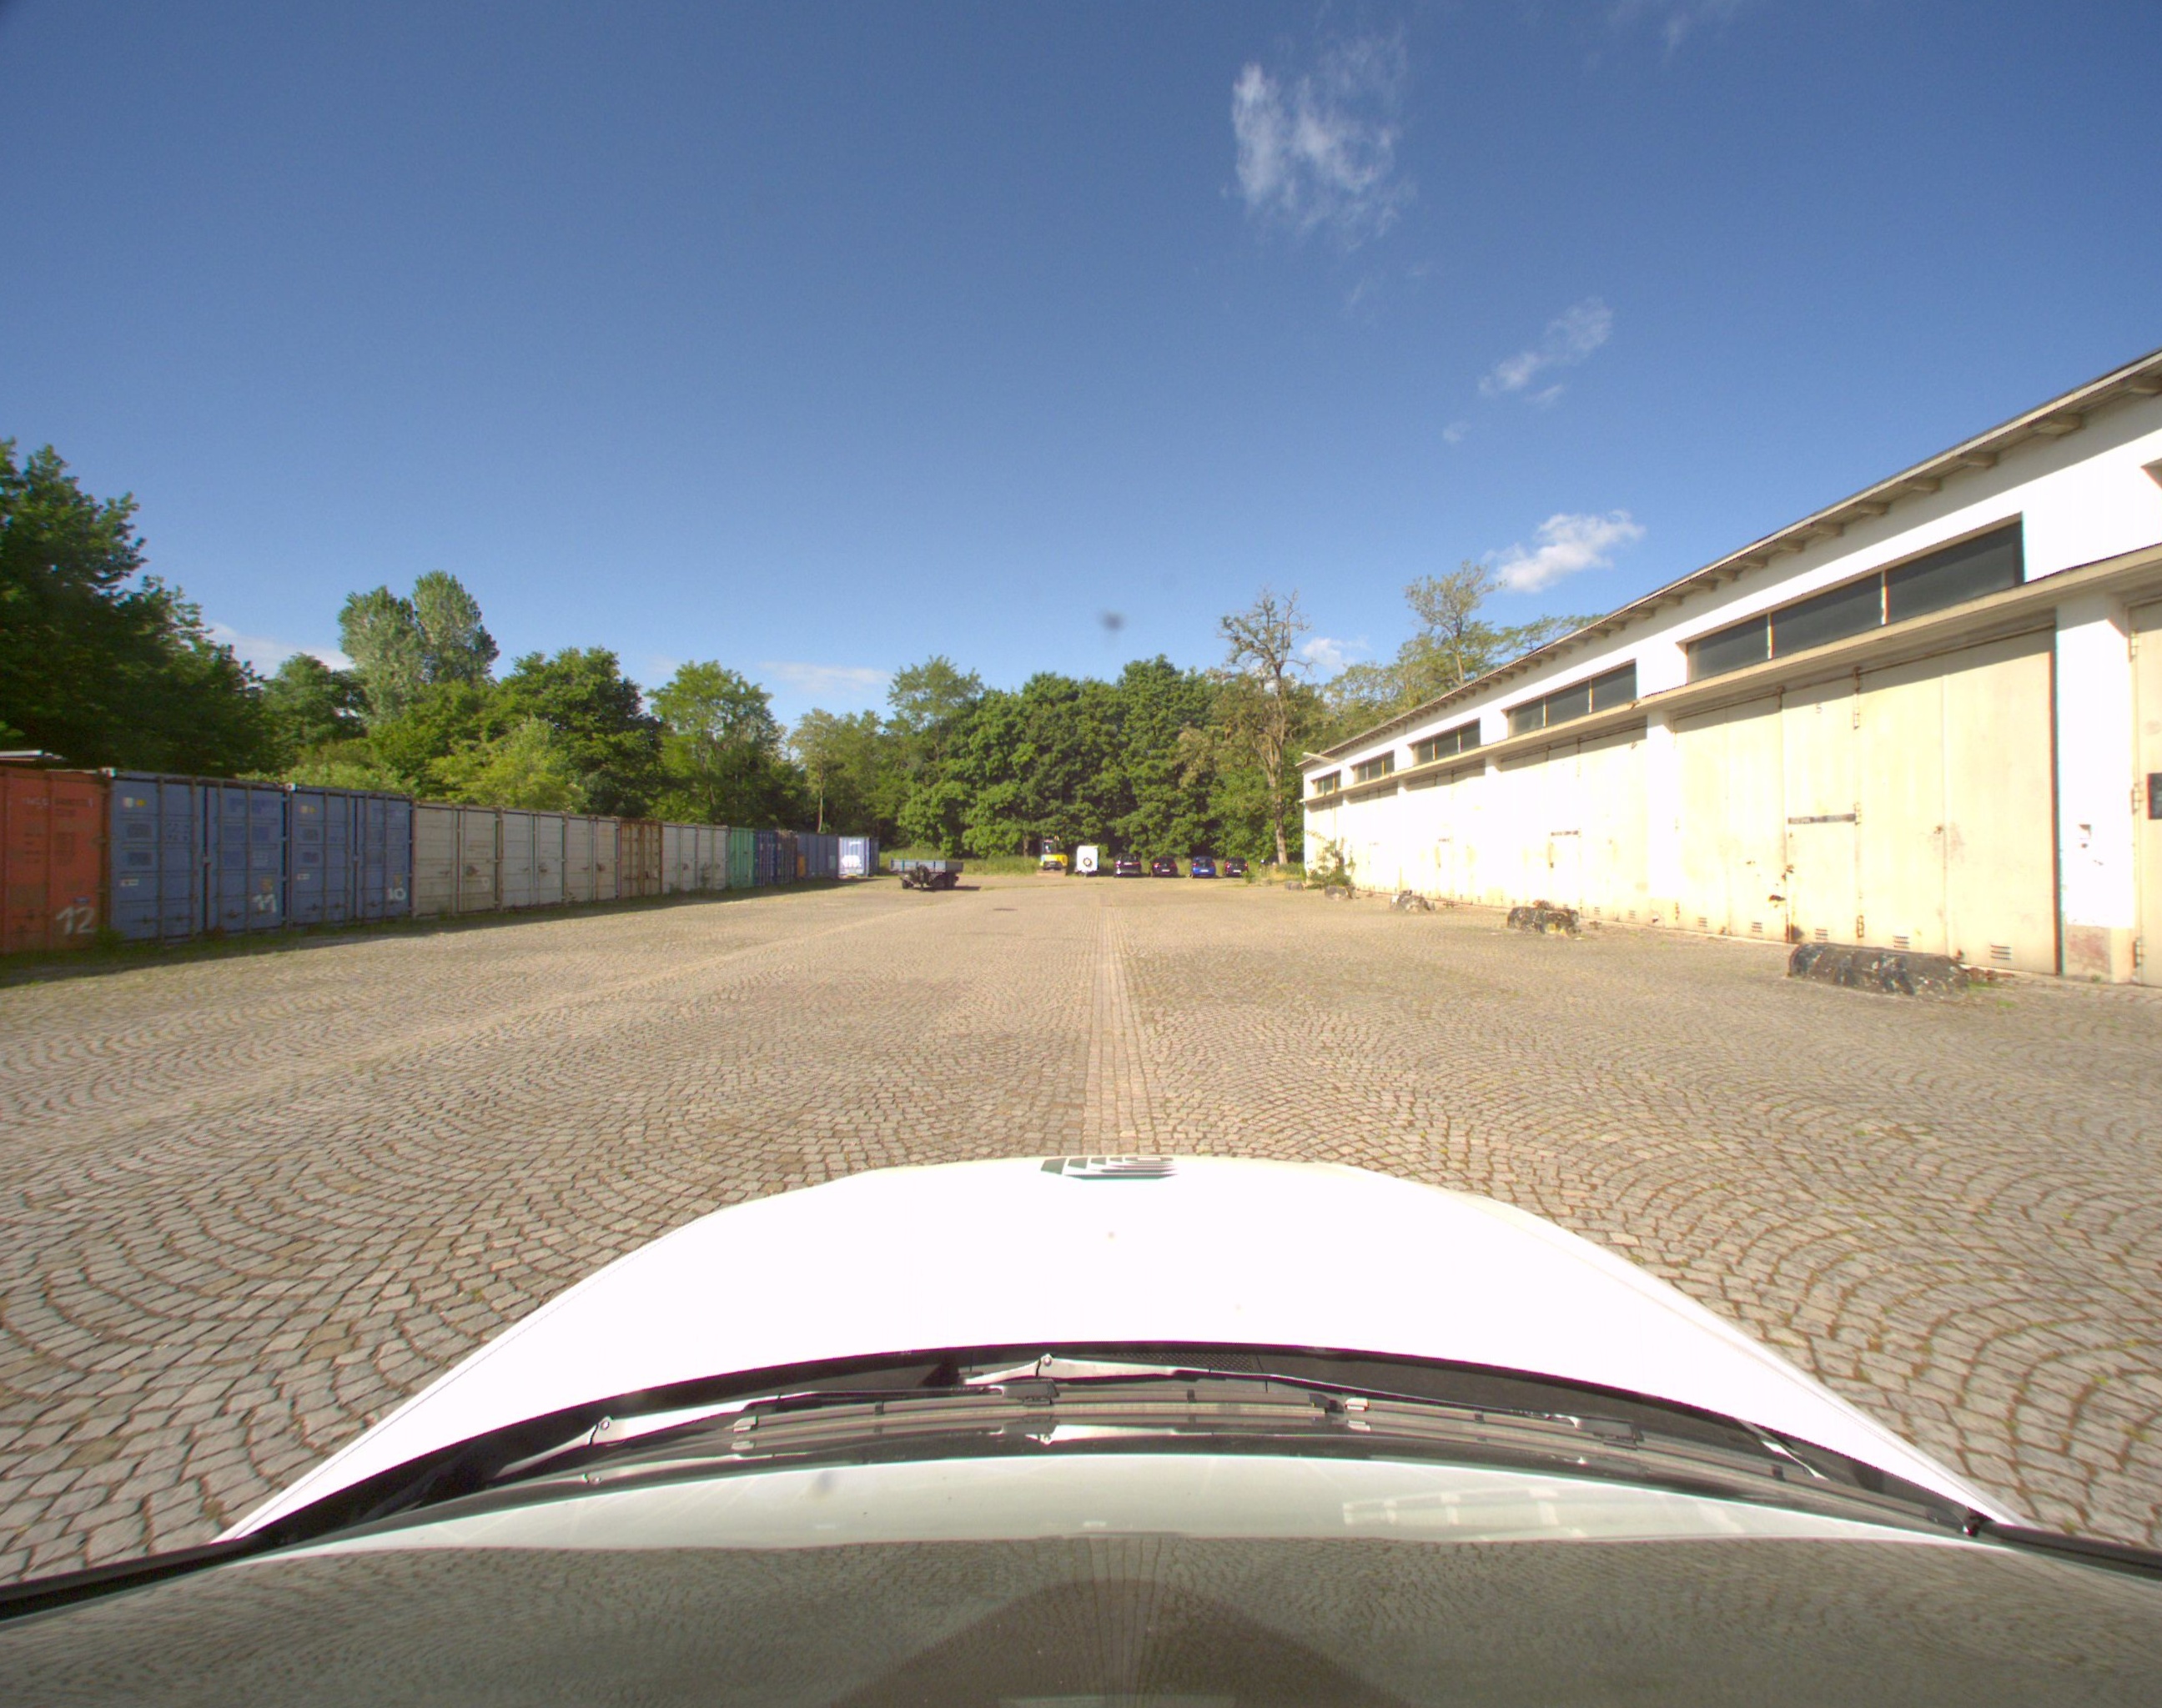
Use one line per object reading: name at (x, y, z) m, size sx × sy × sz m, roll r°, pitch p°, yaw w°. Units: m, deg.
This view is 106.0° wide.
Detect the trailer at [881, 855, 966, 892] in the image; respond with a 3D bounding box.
trailer at (-7.196, 0.849, 37.950) m, size 2.697 × 1.465 × 6.246 m, roll 1°, pitch 0°, yaw 0°

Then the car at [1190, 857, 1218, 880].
car at (8.406, 0.948, 55.754) m, size 1.735 × 1.436 × 4.191 m, roll 1°, pitch 1°, yaw 6°

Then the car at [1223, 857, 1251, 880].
car at (10.886, 0.997, 57.128) m, size 1.734 × 1.436 × 4.193 m, roll 2°, pitch 1°, yaw 8°

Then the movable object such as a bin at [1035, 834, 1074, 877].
movable object such as a bin at (-1.826, 0.050, 58.573) m, size 2.297 × 2.896 × 5.754 m, roll 1°, pitch 1°, yaw 2°

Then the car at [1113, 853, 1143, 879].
car at (3.159, 0.787, 55.522) m, size 1.857 × 1.589 × 4.297 m, roll 1°, pitch 1°, yaw 1°

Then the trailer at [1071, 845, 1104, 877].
trailer at (0.529, 0.425, 57.942) m, size 2.185 × 2.094 × 5.753 m, roll 1°, pitch 1°, yaw 1°

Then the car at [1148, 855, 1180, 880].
car at (5.650, 0.891, 55.854) m, size 1.857 × 1.470 × 4.297 m, roll 1°, pitch 1°, yaw 1°
